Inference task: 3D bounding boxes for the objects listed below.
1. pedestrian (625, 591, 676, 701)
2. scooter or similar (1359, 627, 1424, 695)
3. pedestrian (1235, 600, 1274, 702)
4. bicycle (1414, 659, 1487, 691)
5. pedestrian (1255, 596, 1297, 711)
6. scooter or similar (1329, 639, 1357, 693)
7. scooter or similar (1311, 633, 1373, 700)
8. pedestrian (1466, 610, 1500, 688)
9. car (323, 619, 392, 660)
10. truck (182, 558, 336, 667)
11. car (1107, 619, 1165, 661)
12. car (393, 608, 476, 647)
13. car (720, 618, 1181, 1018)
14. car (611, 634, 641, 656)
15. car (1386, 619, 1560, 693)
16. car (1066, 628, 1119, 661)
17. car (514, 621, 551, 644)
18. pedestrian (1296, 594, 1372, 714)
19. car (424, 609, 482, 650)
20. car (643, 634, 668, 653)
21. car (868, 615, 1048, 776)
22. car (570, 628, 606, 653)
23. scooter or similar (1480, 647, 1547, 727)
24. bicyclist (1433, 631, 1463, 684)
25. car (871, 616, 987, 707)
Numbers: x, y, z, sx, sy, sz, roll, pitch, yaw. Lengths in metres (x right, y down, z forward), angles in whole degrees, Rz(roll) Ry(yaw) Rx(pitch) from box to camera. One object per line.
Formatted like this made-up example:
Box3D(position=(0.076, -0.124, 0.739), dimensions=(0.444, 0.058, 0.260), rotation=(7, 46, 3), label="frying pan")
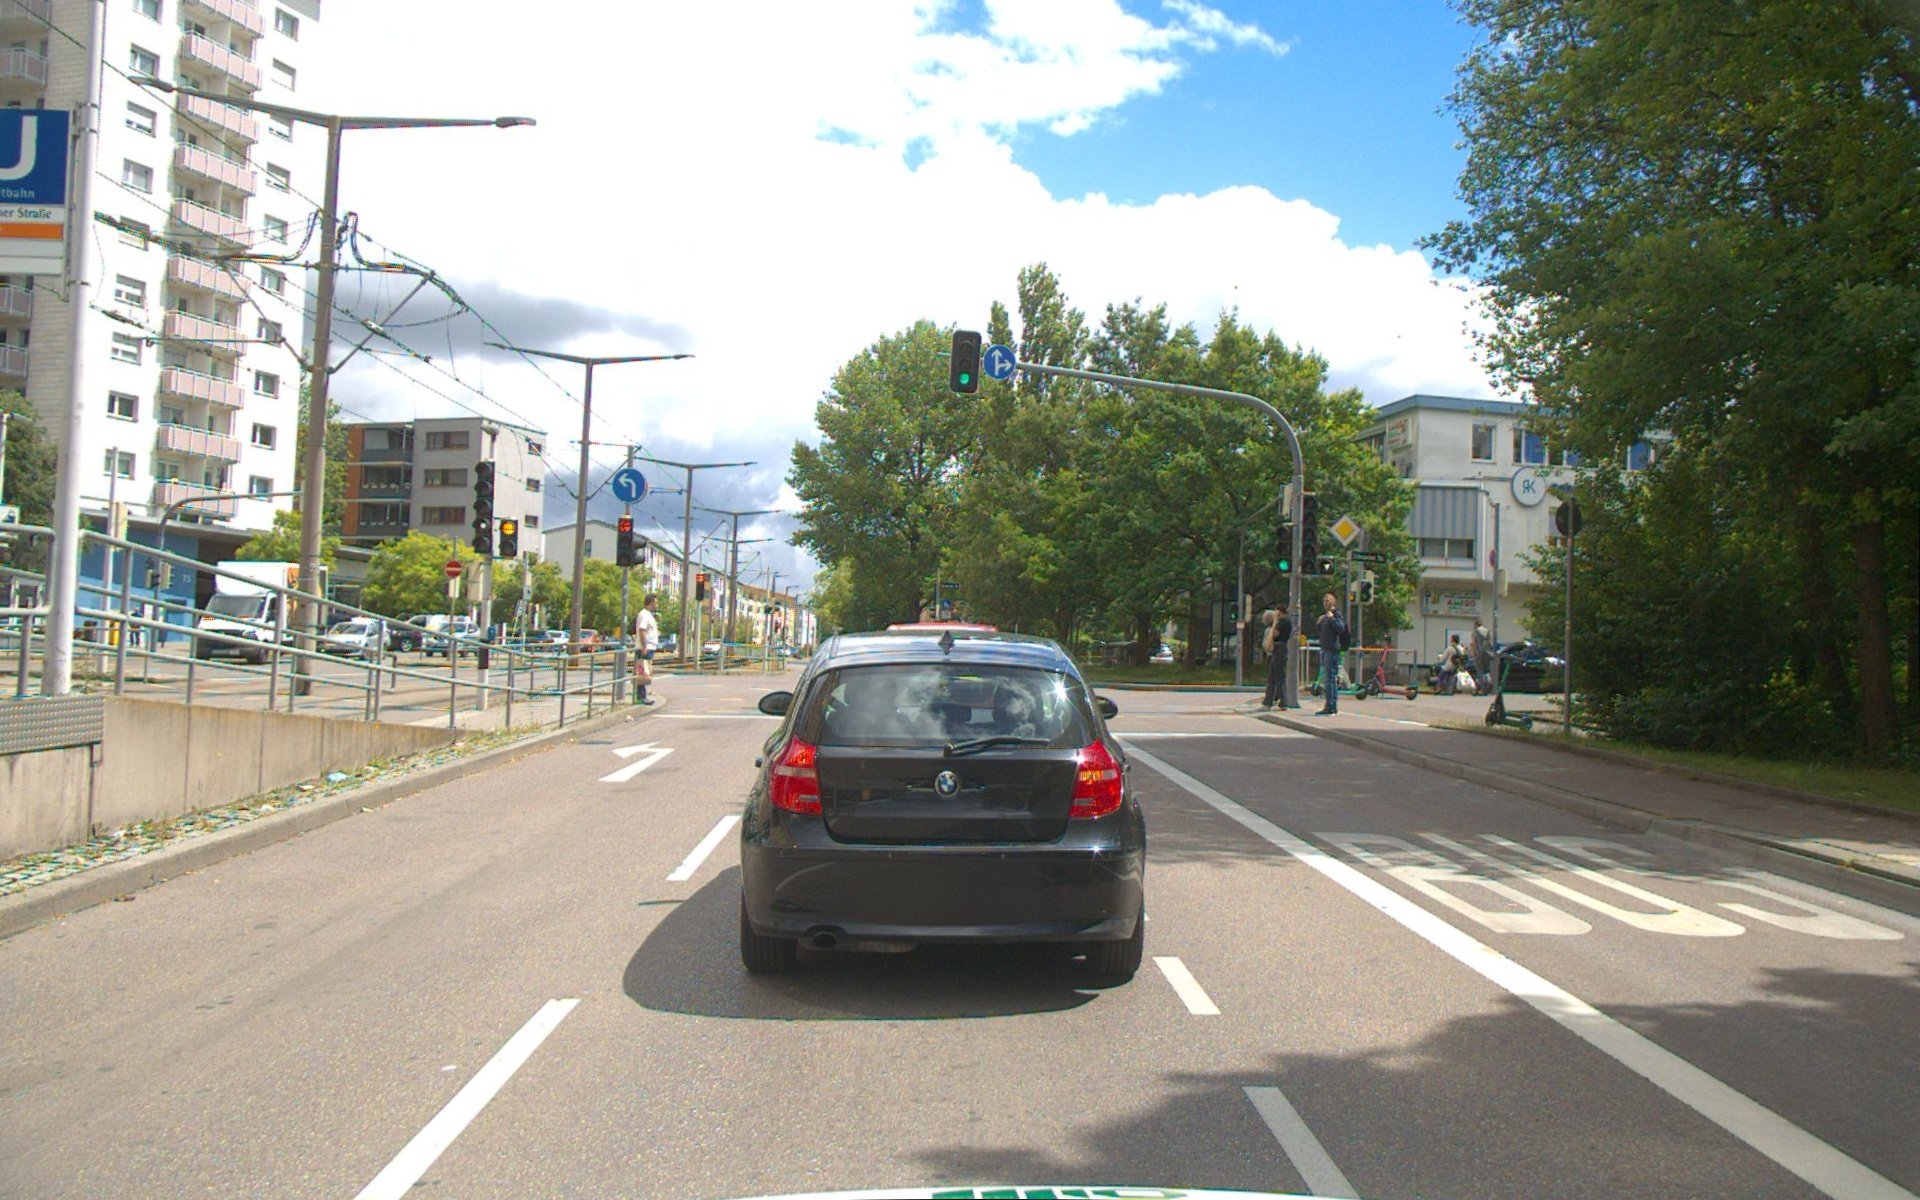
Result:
Box3D(position=(-5.022, 0.742, 26.854), dimensions=(0.673, 1.764, 0.687), rotation=(1, -1, -1), label="pedestrian")
Box3D(position=(8.666, 1.225, 33.258), dimensions=(1.127, 1.294, 0.555), rotation=(2, -1, 1), label="scooter or similar")
Box3D(position=(5.295, 0.913, 29.806), dimensions=(0.622, 1.797, 0.518), rotation=(1, -1, 5), label="pedestrian")
Box3D(position=(10.863, 1.652, 36.662), dimensions=(0.528, 0.620, 1.572), rotation=(3, -1, -33), label="bicycle")
Box3D(position=(5.340, 0.902, 27.988), dimensions=(0.622, 1.909, 0.518), rotation=(1, -1, 5), label="pedestrian")
Box3D(position=(7.930, 1.356, 34.278), dimensions=(0.536, 1.082, 1.263), rotation=(1, -1, 13), label="scooter or similar")
Box3D(position=(7.446, 1.288, 32.254), dimensions=(1.087, 1.257, 0.539), rotation=(1, -1, 1), label="scooter or similar")
Box3D(position=(11.810, 1.105, 37.348), dimensions=(0.644, 1.743, 0.461), rotation=(1, -1, 25), label="pedestrian")
Box3D(position=(-22.987, 1.487, 63.230), dimensions=(1.379, 1.486, 3.772), rotation=(2, -1, -3), label="car")
Box3D(position=(-22.343, 0.414, 53.124), dimensions=(2.237, 3.172, 7.311), rotation=(2, -1, -5), label="truck")
Box3D(position=(8.383, 1.873, 79.114), dimensions=(1.694, 1.904, 3.991), rotation=(2, -1, -9), label="car")
Box3D(position=(-27.938, 1.479, 87.939), dimensions=(3.892, 2.009, 1.630), rotation=(2, -1, -43), label="car")
Box3D(position=(-0.052, 0.821, 7.783), dimensions=(1.665, 1.424, 3.419), rotation=(1, 0, -1), label="car")
Box3D(position=(-25.837, 3.481, 128.178), dimensions=(1.618, 1.561, 3.869), rotation=(2, -1, -2), label="car")
Box3D(position=(14.988, 1.628, 48.469), dimensions=(4.450, 2.049, 1.996), rotation=(1, -1, -8), label="car")
Box3D(position=(7.194, 2.395, 89.995), dimensions=(1.830, 1.691, 3.988), rotation=(2, -1, -12), label="car")
Box3D(position=(-28.636, 2.155, 110.784), dimensions=(1.559, 1.500, 3.773), rotation=(2, -1, -2), label="car")
Box3D(position=(6.077, 0.868, 26.893), dimensions=(0.990, 1.909, 0.797), rotation=(1, -1, -5), label="pedestrian")
Box3D(position=(-23.594, 1.365, 77.105), dimensions=(1.559, 1.787, 3.773), rotation=(2, -1, -2), label="car")
Box3D(position=(-27.174, 3.882, 147.738), dimensions=(1.618, 1.561, 3.869), rotation=(2, -1, -2), label="car")
Box3D(position=(-0.042, 0.884, 16.720), dimensions=(1.605, 1.424, 3.419), rotation=(1, 0, -1), label="car")
Box3D(position=(-24.792, 2.688, 110.242), dimensions=(1.618, 1.561, 3.869), rotation=(2, -1, -2), label="car")
Box3D(position=(9.369, 1.462, 27.990), dimensions=(0.872, 1.251, 0.454), rotation=(6, -1, -1), label="scooter or similar")
Box3D(position=(10.843, 1.274, 36.734), dimensions=(0.497, 1.177, 0.395), rotation=(1, -1, -34), label="bicyclist")
Box3D(position=(-0.530, 1.023, 29.142), dimensions=(1.861, 1.447, 4.538), rotation=(1, 0, -1), label="car")
